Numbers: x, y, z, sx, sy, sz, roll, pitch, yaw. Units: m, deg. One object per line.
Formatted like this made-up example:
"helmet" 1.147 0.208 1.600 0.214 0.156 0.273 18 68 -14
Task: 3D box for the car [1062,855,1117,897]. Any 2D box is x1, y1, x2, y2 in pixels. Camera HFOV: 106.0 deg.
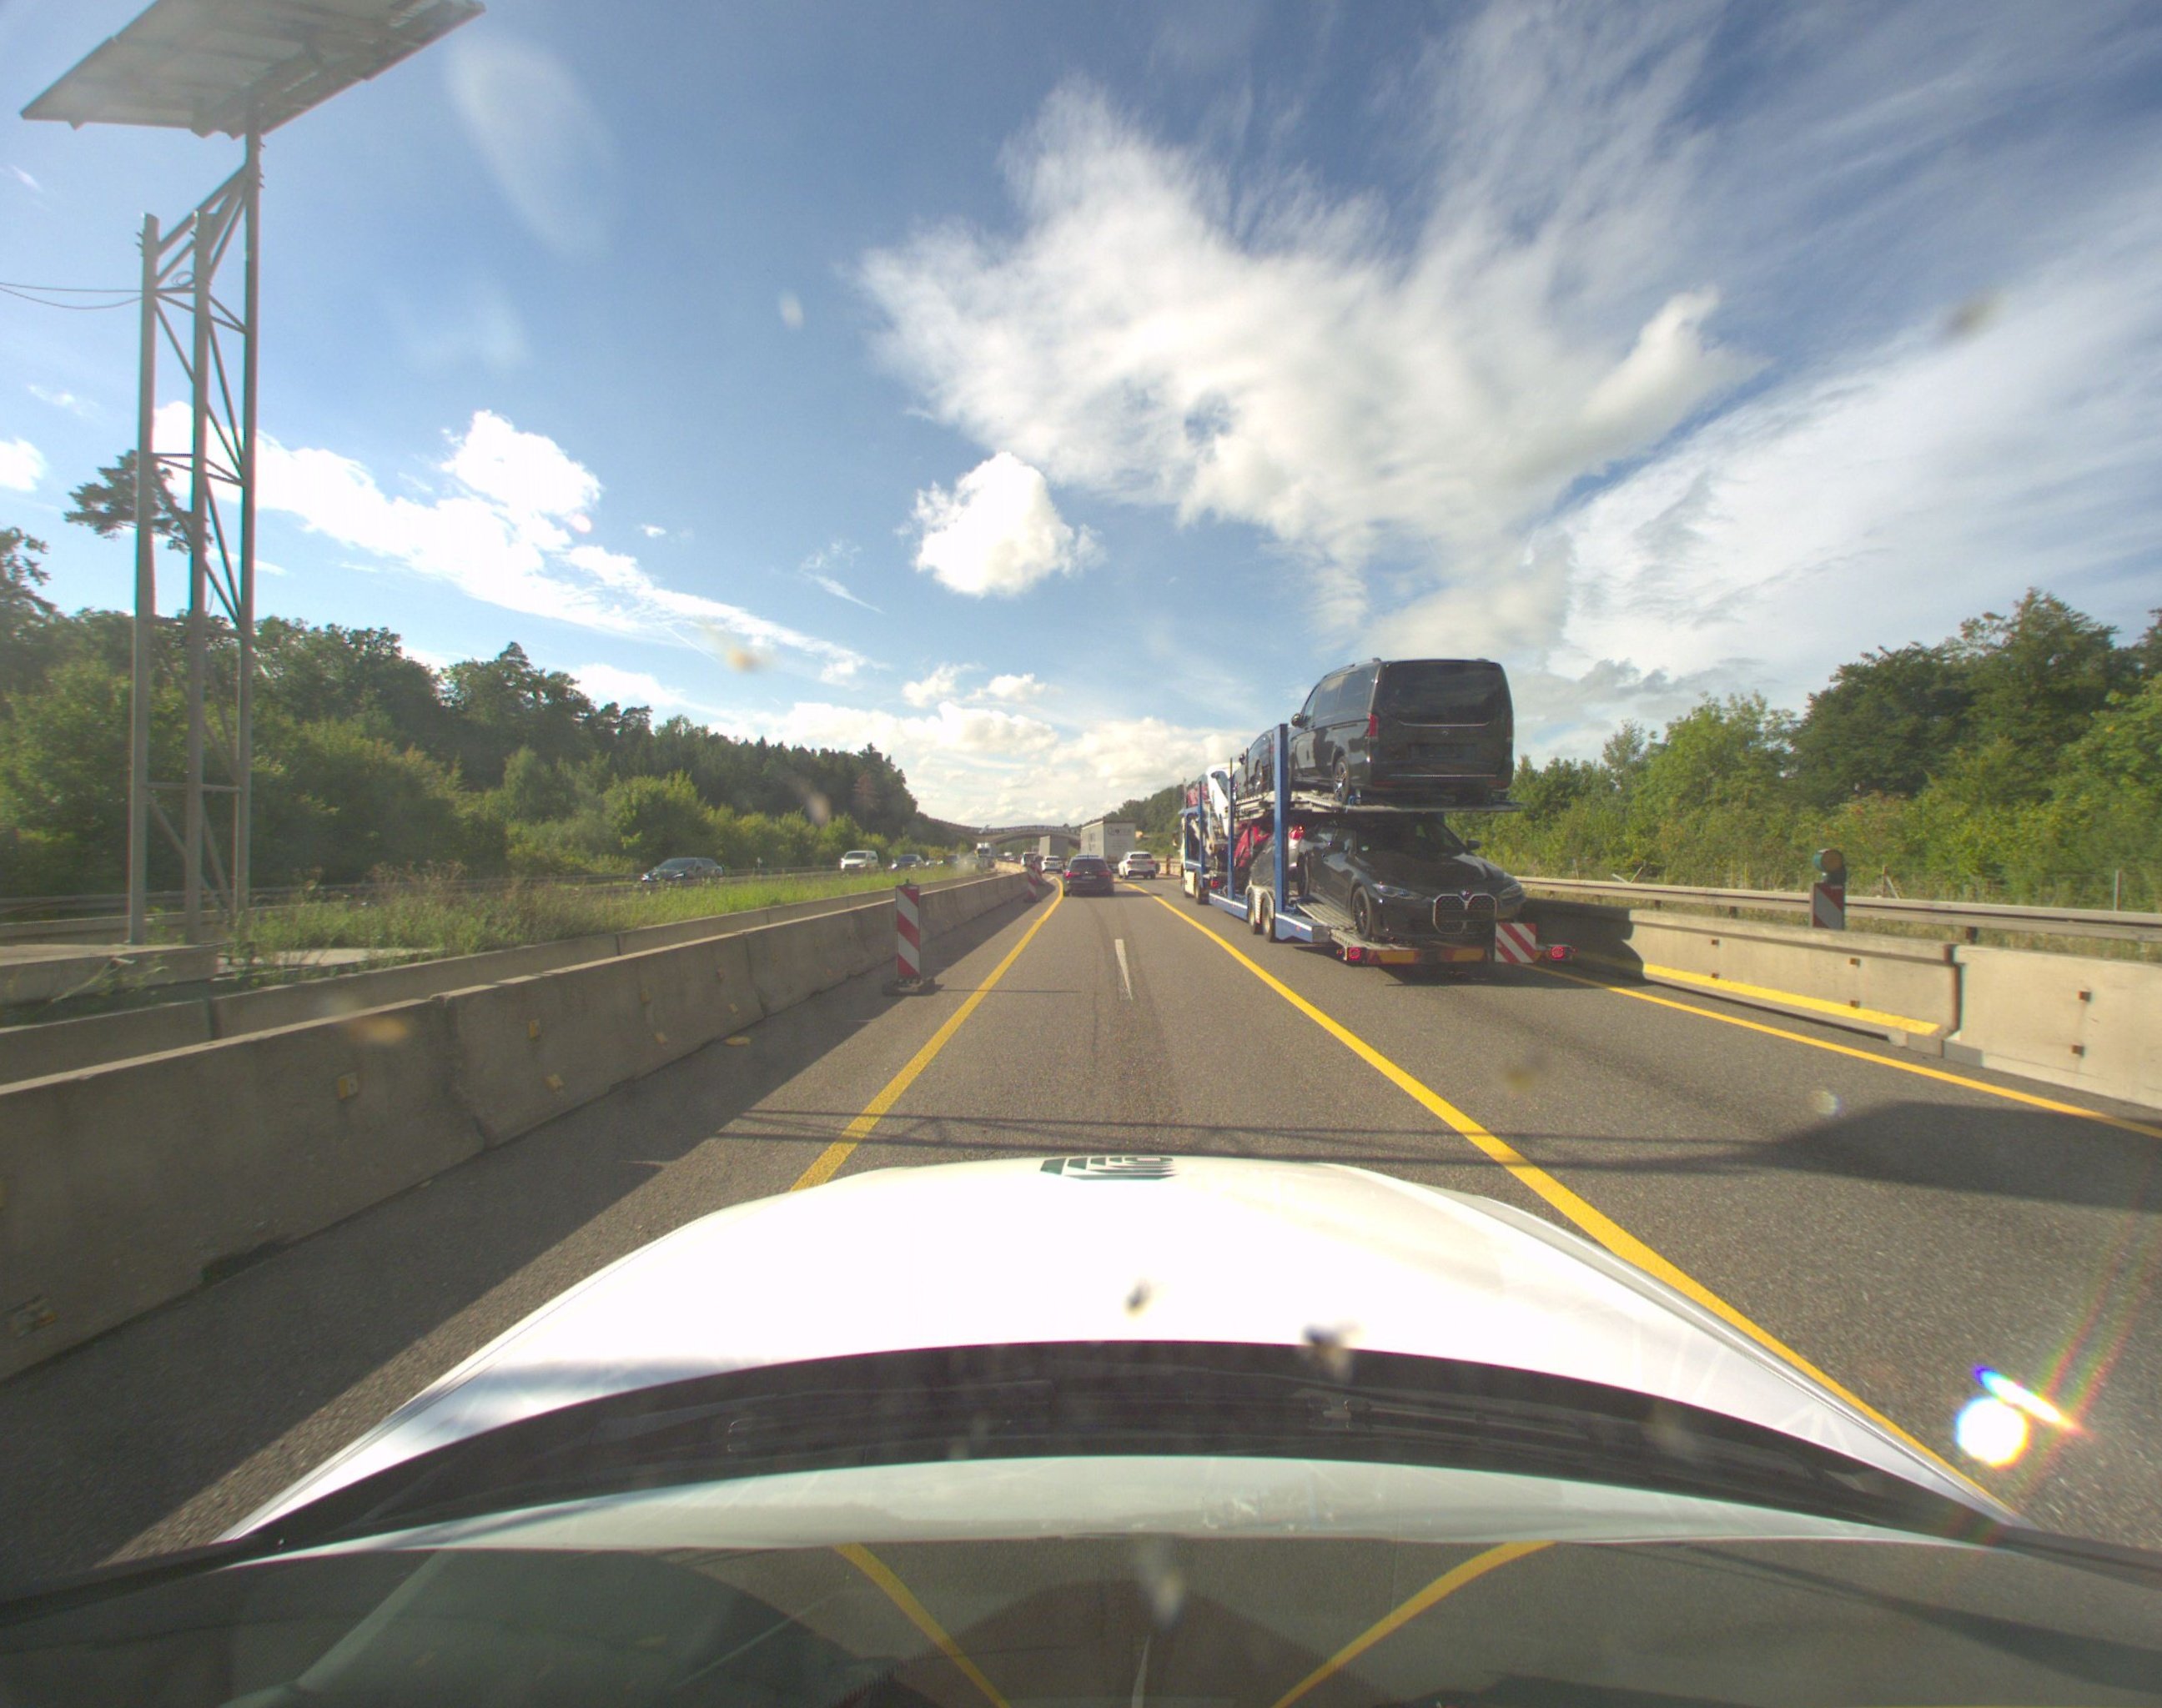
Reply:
"car" 0.322 0.768 30.488 1.884 1.446 4.000 0 0 0

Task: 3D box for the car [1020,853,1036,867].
"car" -6.575 0.762 101.062 1.888 1.643 4.009 0 0 -6

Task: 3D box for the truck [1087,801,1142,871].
"truck" 2.630 -1.357 70.317 3.667 5.353 16.192 0 0 -1

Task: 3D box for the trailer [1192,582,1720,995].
"trailer" 4.934 -0.648 16.456 3.712 4.196 16.235 0 0 2

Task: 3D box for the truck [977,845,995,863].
"truck" -17.701 -0.046 151.369 2.749 3.298 5.810 0 0 -2

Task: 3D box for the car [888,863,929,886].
"car" -13.074 1.525 62.040 1.961 1.602 4.948 0 0 1

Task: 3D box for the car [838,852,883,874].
"car" -16.789 0.688 62.242 1.961 1.602 4.948 0 0 1

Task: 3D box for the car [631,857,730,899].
"car" -16.812 0.953 34.459 1.772 1.602 4.677 0 0 1

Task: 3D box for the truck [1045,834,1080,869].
"truck" -2.683 -0.324 113.456 4.312 4.600 11.105 0 0 -5

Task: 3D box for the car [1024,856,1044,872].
"car" -4.945 1.024 85.452 1.889 1.643 4.007 0 0 -7

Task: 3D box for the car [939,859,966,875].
"car" -13.559 1.393 86.024 1.961 1.602 4.947 0 0 0

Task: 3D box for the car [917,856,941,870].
"car" -17.843 1.075 95.941 1.962 1.602 4.944 0 0 -1

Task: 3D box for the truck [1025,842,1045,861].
"truck" -9.902 -0.520 173.975 3.650 3.928 11.043 0 0 -6

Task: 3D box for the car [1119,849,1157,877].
"car" 3.436 0.547 49.803 1.885 1.643 4.014 0 0 -2

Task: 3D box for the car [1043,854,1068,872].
"car" -2.208 0.764 68.750 1.887 1.446 3.993 0 0 -5

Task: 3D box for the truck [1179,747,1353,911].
"truck" 5.238 -0.633 24.934 3.747 4.196 7.955 0 0 2
